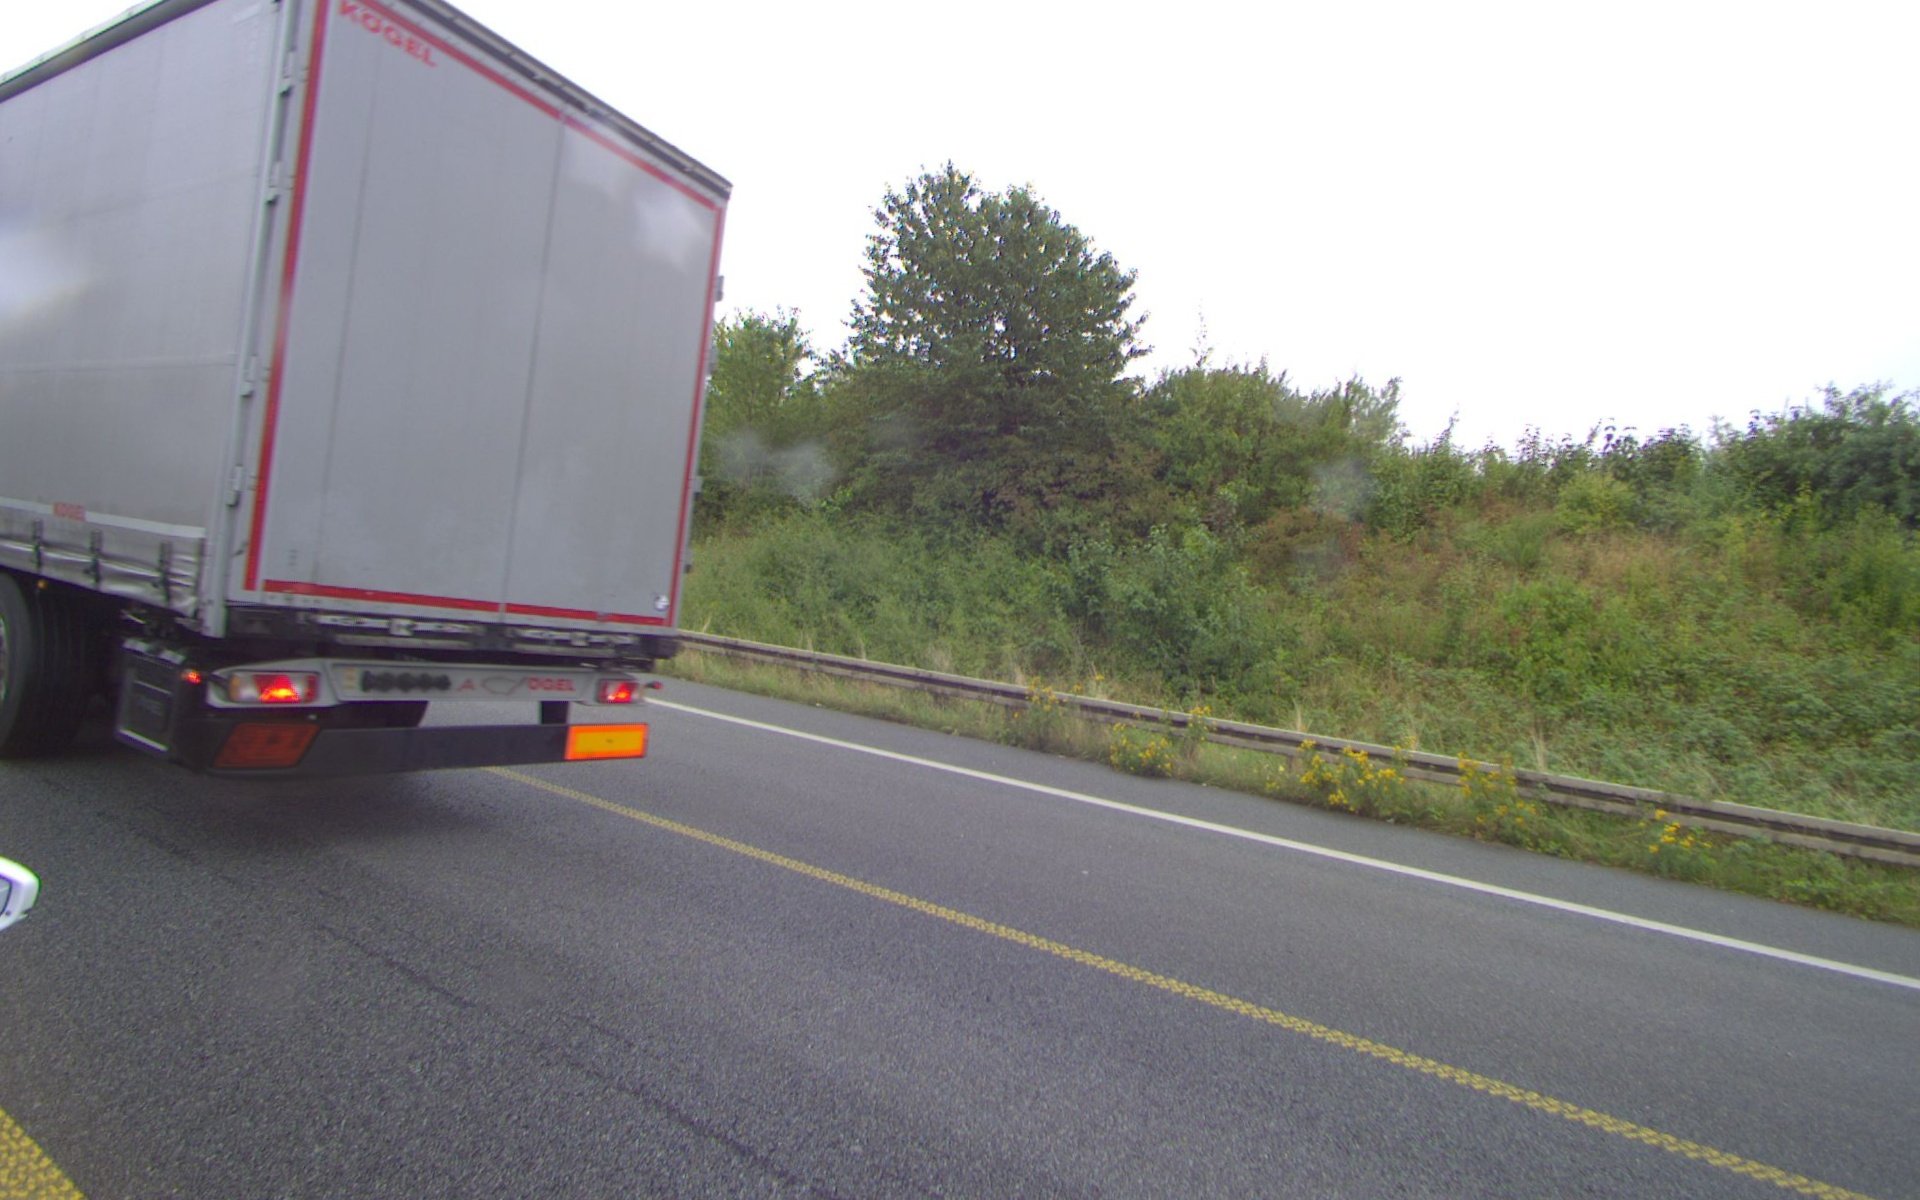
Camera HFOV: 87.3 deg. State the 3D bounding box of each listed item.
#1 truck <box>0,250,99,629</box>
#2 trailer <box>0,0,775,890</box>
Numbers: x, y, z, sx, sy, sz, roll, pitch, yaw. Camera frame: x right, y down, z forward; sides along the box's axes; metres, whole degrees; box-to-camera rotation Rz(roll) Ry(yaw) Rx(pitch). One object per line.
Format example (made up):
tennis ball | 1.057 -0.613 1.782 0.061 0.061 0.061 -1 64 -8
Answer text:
truck | -13.536 -2.137 12.268 5.596 4.188 2.710 7 0 32
trailer | -7.808 -1.477 8.732 13.504 4.196 2.710 7 -1 32
